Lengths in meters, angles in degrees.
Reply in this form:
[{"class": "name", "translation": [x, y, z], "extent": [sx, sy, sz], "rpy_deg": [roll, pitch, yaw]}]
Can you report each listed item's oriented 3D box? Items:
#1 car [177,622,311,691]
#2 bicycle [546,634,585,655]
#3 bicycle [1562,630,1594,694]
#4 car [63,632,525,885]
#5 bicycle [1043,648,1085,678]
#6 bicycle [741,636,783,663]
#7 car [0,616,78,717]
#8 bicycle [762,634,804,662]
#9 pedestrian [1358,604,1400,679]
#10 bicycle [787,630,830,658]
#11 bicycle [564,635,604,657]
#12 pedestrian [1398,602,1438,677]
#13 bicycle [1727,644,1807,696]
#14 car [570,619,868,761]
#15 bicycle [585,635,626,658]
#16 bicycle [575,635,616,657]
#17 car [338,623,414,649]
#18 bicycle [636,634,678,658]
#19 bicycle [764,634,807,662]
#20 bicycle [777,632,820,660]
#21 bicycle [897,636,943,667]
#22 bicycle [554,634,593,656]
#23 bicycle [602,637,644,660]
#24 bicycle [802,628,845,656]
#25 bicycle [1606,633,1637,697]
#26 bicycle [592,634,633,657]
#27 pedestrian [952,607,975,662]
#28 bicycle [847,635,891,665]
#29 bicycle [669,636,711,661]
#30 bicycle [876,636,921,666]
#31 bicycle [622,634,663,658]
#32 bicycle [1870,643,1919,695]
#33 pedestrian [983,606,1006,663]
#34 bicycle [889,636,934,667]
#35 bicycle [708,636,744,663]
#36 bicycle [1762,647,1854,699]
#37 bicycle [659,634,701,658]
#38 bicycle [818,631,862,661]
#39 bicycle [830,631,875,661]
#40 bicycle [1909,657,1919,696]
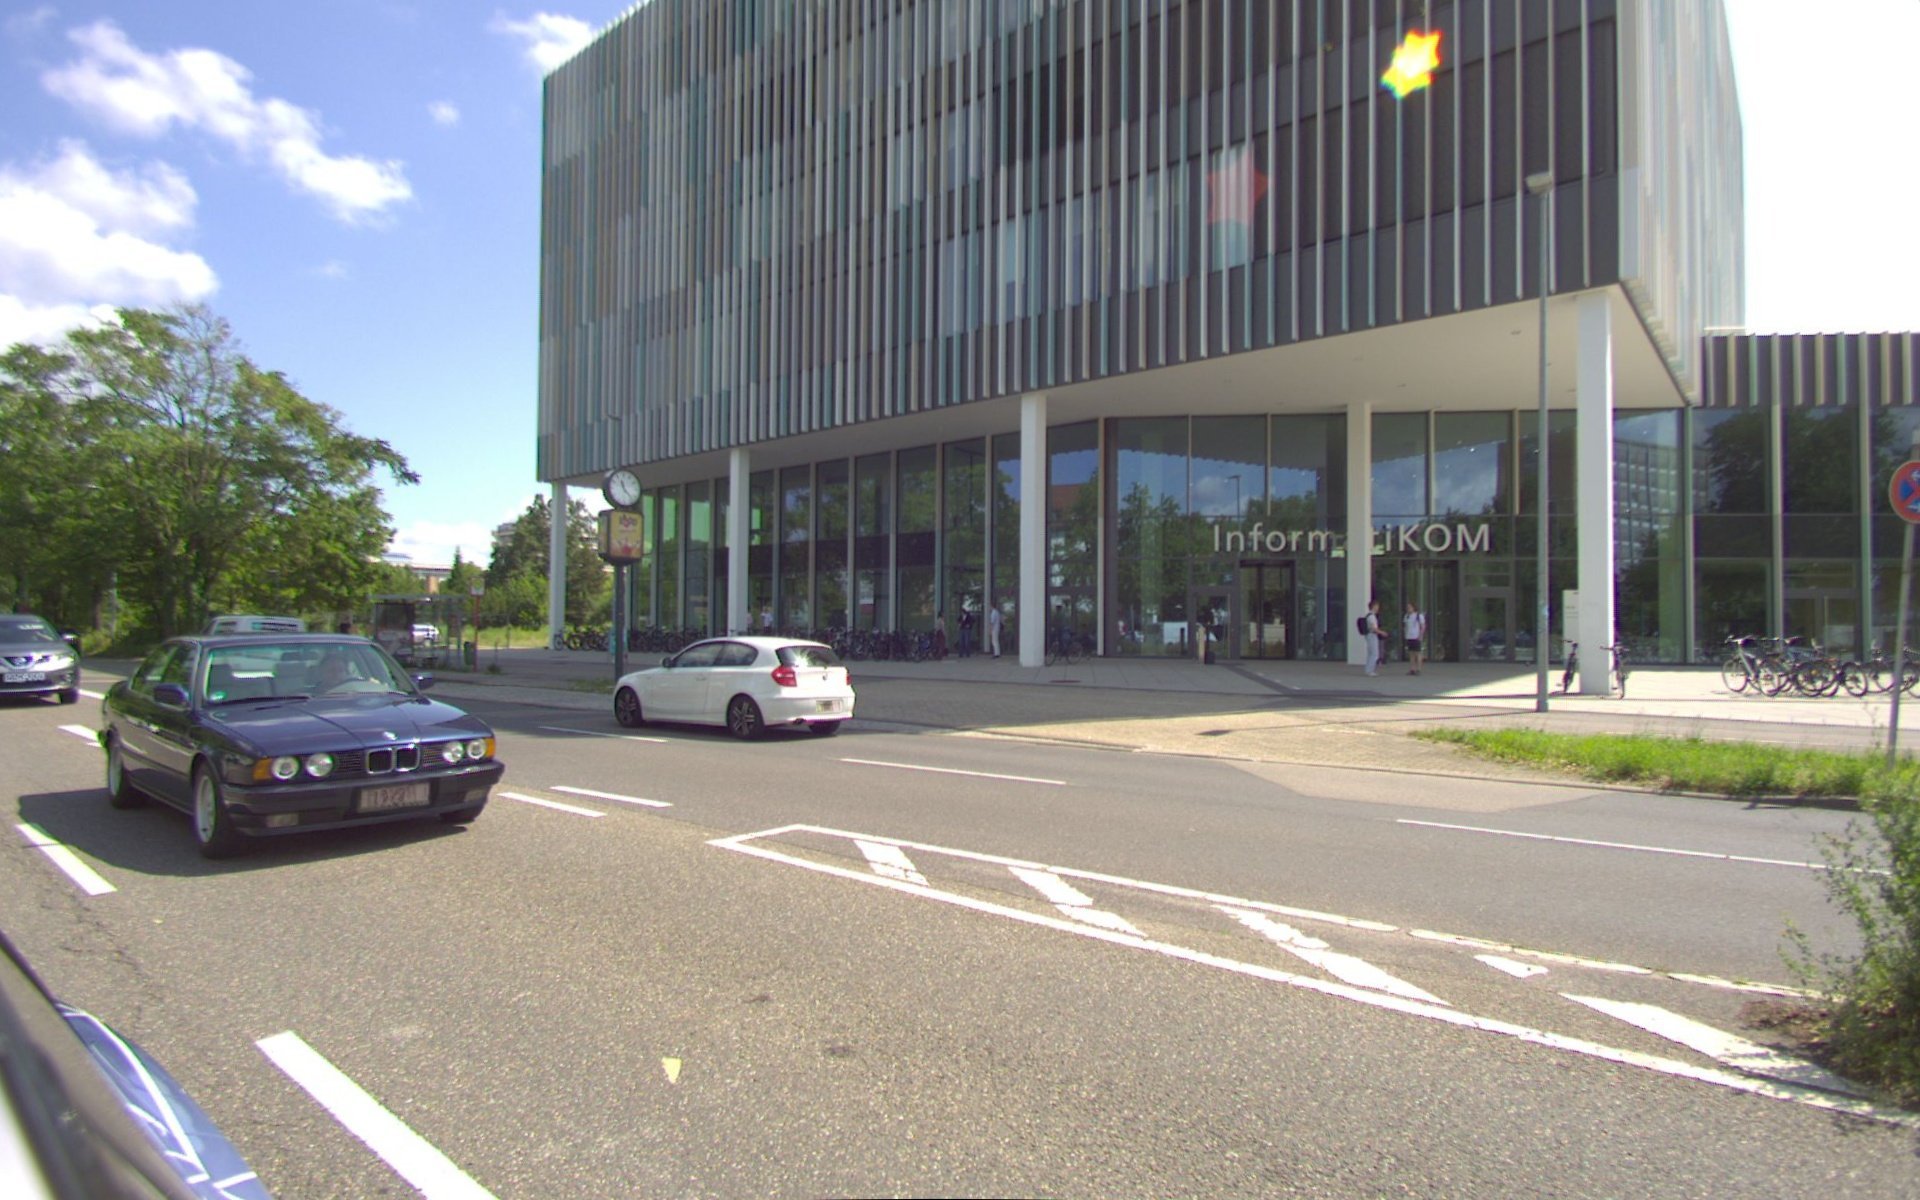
[{"class": "car", "translation": [-20.674, 1.624, 29.166], "extent": [4.726, 1.825, 1.879], "rpy_deg": [-2, -4, 39]}, {"class": "bicycle", "translation": [-18.808, 2.124, 48.290], "extent": [0.433, 0.962, 1.761], "rpy_deg": [-2, -1, 40]}, {"class": "bicycle", "translation": [12.533, 1.234, 20.509], "extent": [0.373, 1.196, 1.526], "rpy_deg": [0, 0, 39]}, {"class": "car", "translation": [-5.317, 0.963, 7.808], "extent": [4.609, 1.397, 1.675], "rpy_deg": [-2, -2, 39]}, {"class": "bicycle", "translation": [3.103, 1.858, 30.023], "extent": [0.373, 0.782, 1.524], "rpy_deg": [-2, -1, 44]}, {"class": "bicycle", "translation": [-7.561, 1.871, 38.633], "extent": [1.521, 0.962, 0.374], "rpy_deg": [0, -1, -35]}, {"class": "car", "translation": [-17.960, 1.192, 18.836], "extent": [4.477, 1.691, 1.800], "rpy_deg": [-2, -1, 42]}, {"class": "bicycle", "translation": [-6.627, 1.785, 37.846], "extent": [1.521, 0.962, 0.374], "rpy_deg": [0, -1, -35]}, {"class": "pedestrian", "translation": [10.501, 1.035, 25.380], "extent": [0.775, 1.856, 0.519], "rpy_deg": [0, -1, -15]}, {"class": "bicycle", "translation": [-5.504, 1.573, 36.693], "extent": [1.521, 0.962, 0.374], "rpy_deg": [0, -1, -35]}, {"class": "bicycle", "translation": [-17.499, 2.137, 47.120], "extent": [0.433, 0.962, 1.761], "rpy_deg": [-2, -1, 40]}, {"class": "pedestrian", "translation": [11.639, 0.996, 25.722], "extent": [0.680, 1.856, 0.679], "rpy_deg": [1, -2, -42]}, {"class": "bicycle", "translation": [15.983, 1.368, 20.087], "extent": [0.368, 0.962, 1.545], "rpy_deg": [0, -1, 1]}, {"class": "car", "translation": [-3.722, 1.254, 15.202], "extent": [4.723, 1.825, 1.709], "rpy_deg": [-2, -4, 37]}, {"class": "bicycle", "translation": [-16.107, 2.093, 46.003], "extent": [0.433, 0.962, 1.761], "rpy_deg": [-2, -1, 40]}, {"class": "bicycle", "translation": [-16.740, 2.108, 46.512], "extent": [0.433, 0.962, 1.761], "rpy_deg": [-2, -1, 40]}, {"class": "car", "translation": [-36.623, 2.243, 63.503], "extent": [3.771, 1.522, 1.901], "rpy_deg": [0, -1, -44]}, {"class": "bicycle", "translation": [-12.954, 1.963, 43.350], "extent": [0.433, 0.962, 1.761], "rpy_deg": [-2, -1, 40]}, {"class": "bicycle", "translation": [-6.448, 1.774, 37.458], "extent": [1.521, 0.962, 0.374], "rpy_deg": [0, -1, -35]}, {"class": "bicycle", "translation": [-5.918, 1.681, 37.080], "extent": [1.521, 0.962, 0.374], "rpy_deg": [0, -1, -35]}, {"class": "bicycle", "translation": [-1.288, 1.665, 33.004], "extent": [1.521, 0.962, 0.374], "rpy_deg": [0, -1, -35]}, {"class": "bicycle", "translation": [-18.267, 2.127, 47.845], "extent": [0.433, 0.962, 1.761], "rpy_deg": [-2, -1, 40]}, {"class": "bicycle", "translation": [-14.904, 2.123, 44.792], "extent": [0.433, 0.962, 1.761], "rpy_deg": [-2, -1, 40]}, {"class": "bicycle", "translation": [-4.839, 1.476, 35.949], "extent": [1.521, 0.962, 0.374], "rpy_deg": [0, -1, -35]}, {"class": "bicycle", "translation": [13.176, 1.271, 20.141], "extent": [0.373, 1.196, 1.526], "rpy_deg": [0, 0, 39]}, {"class": "bicycle", "translation": [-15.674, 2.044, 45.646], "extent": [0.433, 0.962, 1.761], "rpy_deg": [-2, -1, 40]}, {"class": "pedestrian", "translation": [0.123, 1.173, 34.764], "extent": [0.553, 1.856, 0.556], "rpy_deg": [-1, -2, 33]}, {"class": "bicycle", "translation": [-3.110, 1.701, 34.617], "extent": [1.521, 0.962, 0.374], "rpy_deg": [0, -1, -35]}, {"class": "bicycle", "translation": [-11.118, 1.998, 41.716], "extent": [0.433, 0.962, 1.761], "rpy_deg": [-2, -1, 40]}, {"class": "bicycle", "translation": [-2.062, 1.696, 33.997], "extent": [1.521, 0.962, 0.374], "rpy_deg": [0, -1, -35]}, {"class": "bicycle", "translation": [-13.791, 1.989, 43.959], "extent": [0.433, 0.962, 1.761], "rpy_deg": [-2, -1, 40]}, {"class": "bicycle", "translation": [18.674, 1.340, 19.889], "extent": [0.525, 0.962, 1.761], "rpy_deg": [-1, -1, 20]}, {"class": "pedestrian", "translation": [1.138, 1.133, 33.468], "extent": [0.553, 1.856, 0.556], "rpy_deg": [-1, -2, 33]}, {"class": "bicycle", "translation": [-1.608, 1.710, 33.476], "extent": [1.521, 0.962, 0.374], "rpy_deg": [0, -1, -35]}, {"class": "bicycle", "translation": [-8.862, 1.877, 38.392], "extent": [0.372, 0.962, 1.531], "rpy_deg": [-1, -1, 29]}, {"class": "bicycle", "translation": [16.923, 1.436, 20.239], "extent": [0.368, 0.962, 1.772], "rpy_deg": [0, -1, 1]}, {"class": "bicycle", "translation": [-11.825, 1.929, 42.781], "extent": [0.433, 0.962, 1.761], "rpy_deg": [-2, -1, 40]}, {"class": "bicycle", "translation": [-4.177, 1.590, 35.242], "extent": [1.521, 0.962, 0.374], "rpy_deg": [0, -1, -35]}, {"class": "bicycle", "translation": [-3.695, 1.568, 34.802], "extent": [1.521, 0.962, 0.374], "rpy_deg": [0, -1, -35]}, {"class": "bicycle", "translation": [19.455, 1.532, 19.671], "extent": [0.523, 0.770, 1.769], "rpy_deg": [0, -1, 8]}]
